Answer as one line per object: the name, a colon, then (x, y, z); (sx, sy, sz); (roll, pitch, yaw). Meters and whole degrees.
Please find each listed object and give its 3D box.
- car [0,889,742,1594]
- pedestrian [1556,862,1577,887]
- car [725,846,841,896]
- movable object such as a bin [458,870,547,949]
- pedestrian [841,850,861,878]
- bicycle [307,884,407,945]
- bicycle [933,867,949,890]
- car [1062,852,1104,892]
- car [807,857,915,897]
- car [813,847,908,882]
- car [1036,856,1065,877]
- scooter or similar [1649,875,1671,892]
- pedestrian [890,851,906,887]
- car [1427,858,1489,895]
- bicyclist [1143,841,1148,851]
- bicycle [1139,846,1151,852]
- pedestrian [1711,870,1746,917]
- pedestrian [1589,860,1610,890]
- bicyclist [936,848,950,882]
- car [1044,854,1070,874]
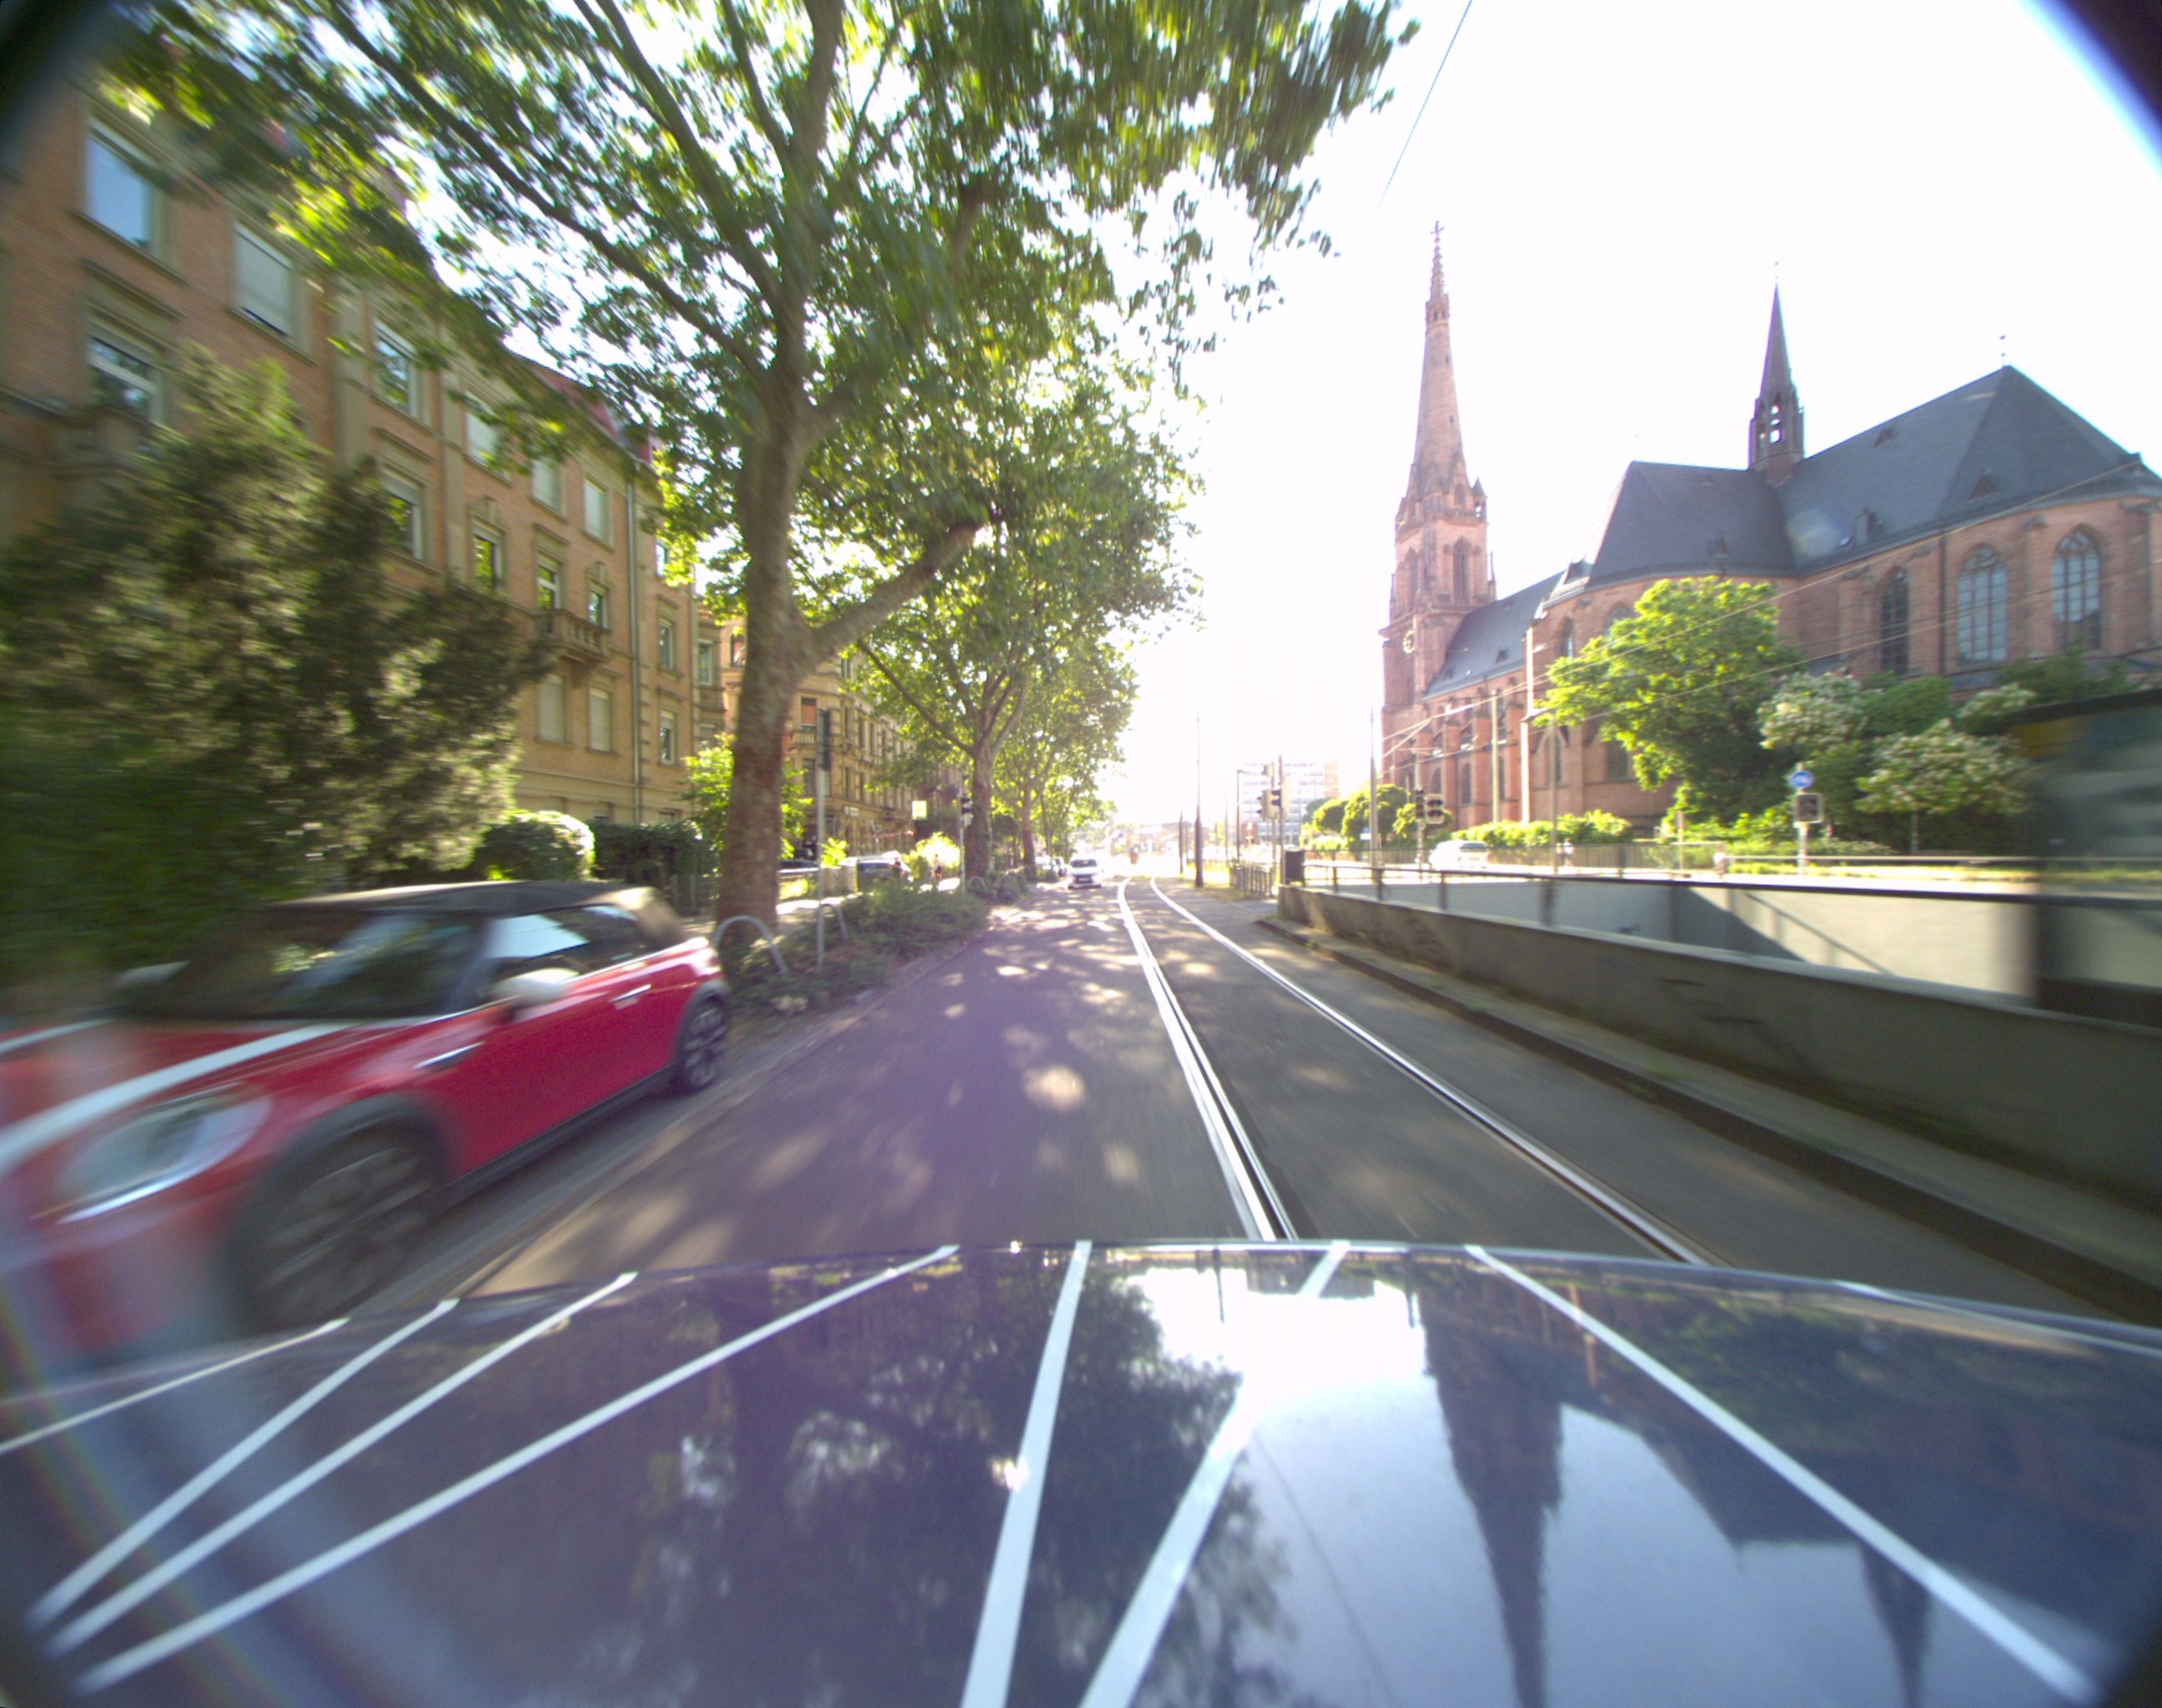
car: (-3.426, 1.020, 3.687); (1.718, 1.454, 3.999); (0, 1, 1)
pedestrian: (29.531, 1.230, 46.195); (0.587, 1.480, 0.946); (-3, 0, -2)
car: (-12.328, 0.754, 31.663); (3.997, 2.001, 2.001); (0, -3, -1)
movable object such as a bin: (-11.372, 1.067, 14.977); (0.909, 1.456, 1.083); (2, 0, 0)
pedestrian: (-13.152, 0.565, 43.442); (0.888, 1.581, 0.875); (-3, 0, -5)
bicycle: (-15.137, 1.248, 15.937); (0.326, 1.135, 1.521); (-3, 0, 16)
bicycle: (-6.558, 1.146, 35.615); (0.562, 1.031, 1.932); (-1, -1, -5)
car: (0.160, 0.887, 37.051); (1.823, 1.728, 4.002); (-3, -1, 3)
car: (-10.291, 1.051, 35.866); (4.562, 1.530, 1.906); (-3, 0, -7)
car: (-11.855, 0.552, 41.013); (4.559, 1.835, 1.907); (-1, 0, 1)
car: (-2.089, 0.821, 52.968); (1.680, 1.386, 4.571); (1, 0, 2)
scooter or similar: (32.115, 1.640, 42.115); (0.309, 0.930, 0.919); (-3, 0, -20)
pedestrian: (-7.993, 0.652, 33.194); (0.540, 1.540, 0.607); (0, -2, 0)
car: (22.659, 1.273, 45.855); (1.997, 2.002, 5.016); (2, 1, 10)
bicyclist: (12.079, -1.423, 142.761); (0.775, 1.860, 0.611); (-3, 0, 19)
bicycle: (12.004, -0.999, 142.793); (2.063, 1.077, 0.611); (-3, 0, 19)
pedestrian: (23.432, 1.422, 27.511); (0.494, 1.663, 0.754); (-3, 0, -13)
pedestrian: (31.513, 1.255, 46.178); (0.587, 1.774, 0.946); (-3, 0, -2)
bicyclist: (-6.482, 0.514, 35.646); (0.544, 1.616, 0.644); (1, 0, -5)
car: (-1.861, 0.773, 59.560); (1.680, 1.507, 4.724); (1, 0, 3)
